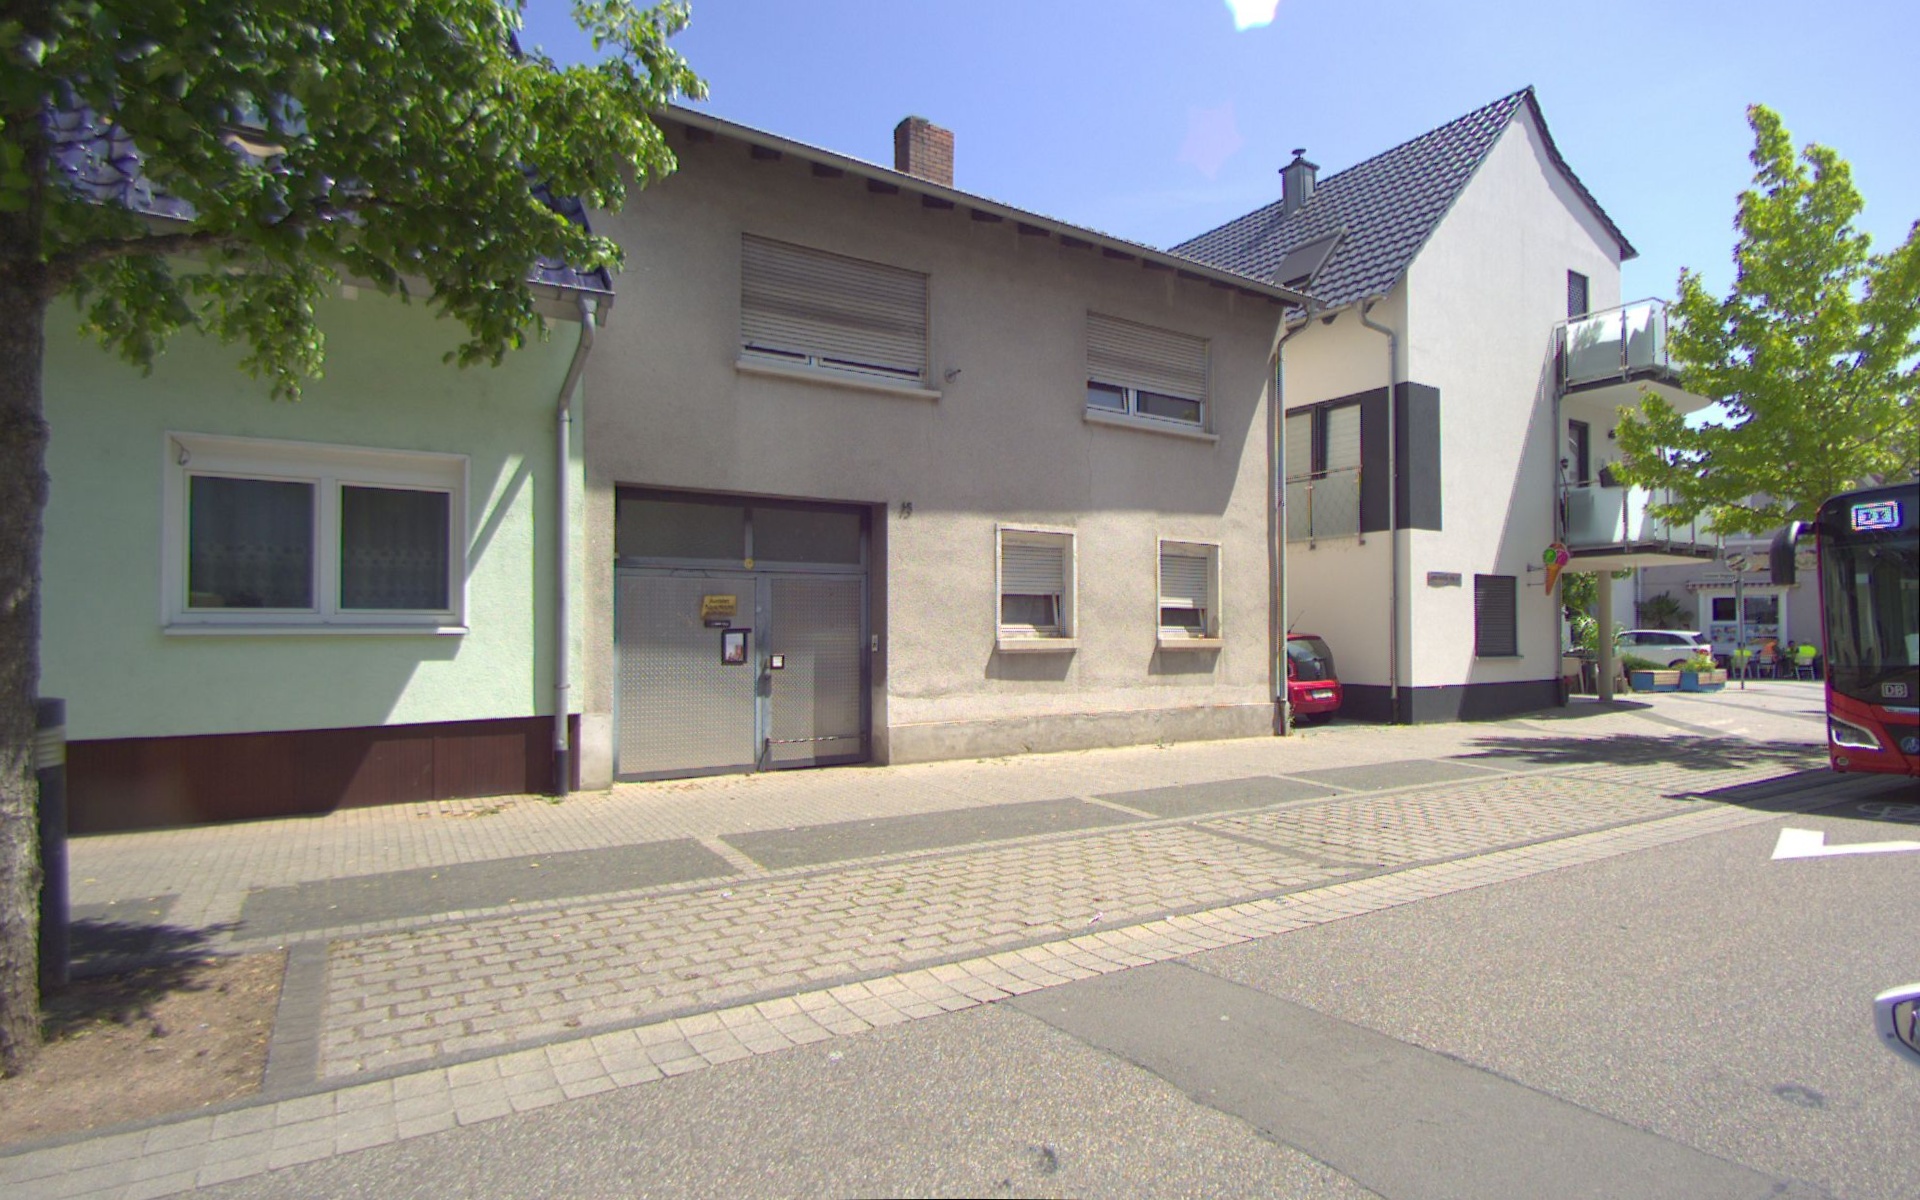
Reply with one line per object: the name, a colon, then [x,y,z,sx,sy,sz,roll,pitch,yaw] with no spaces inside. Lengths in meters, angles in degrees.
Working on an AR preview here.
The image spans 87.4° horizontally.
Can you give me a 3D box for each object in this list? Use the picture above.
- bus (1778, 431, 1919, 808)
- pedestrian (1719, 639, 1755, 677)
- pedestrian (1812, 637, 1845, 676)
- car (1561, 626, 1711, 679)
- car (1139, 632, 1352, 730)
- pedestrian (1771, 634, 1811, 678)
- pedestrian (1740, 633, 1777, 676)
bus: [15.573,0.308,13.056,17.620,3.165,2.653,1,-2,-34]
pedestrian: [24.507,1.825,31.698,0.623,1.131,0.790,2,0,15]
pedestrian: [26.816,1.730,31.004,0.690,1.194,0.617,1,-2,-36]
car: [21.930,1.671,32.687,3.872,1.566,1.510,-2,-1,42]
car: [4.659,1.260,16.664,1.572,1.462,3.092,1,-2,-37]
pedestrian: [25.493,1.706,30.819,0.623,1.306,0.790,2,0,15]
pedestrian: [25.303,1.728,31.825,0.623,1.306,0.790,2,0,15]
